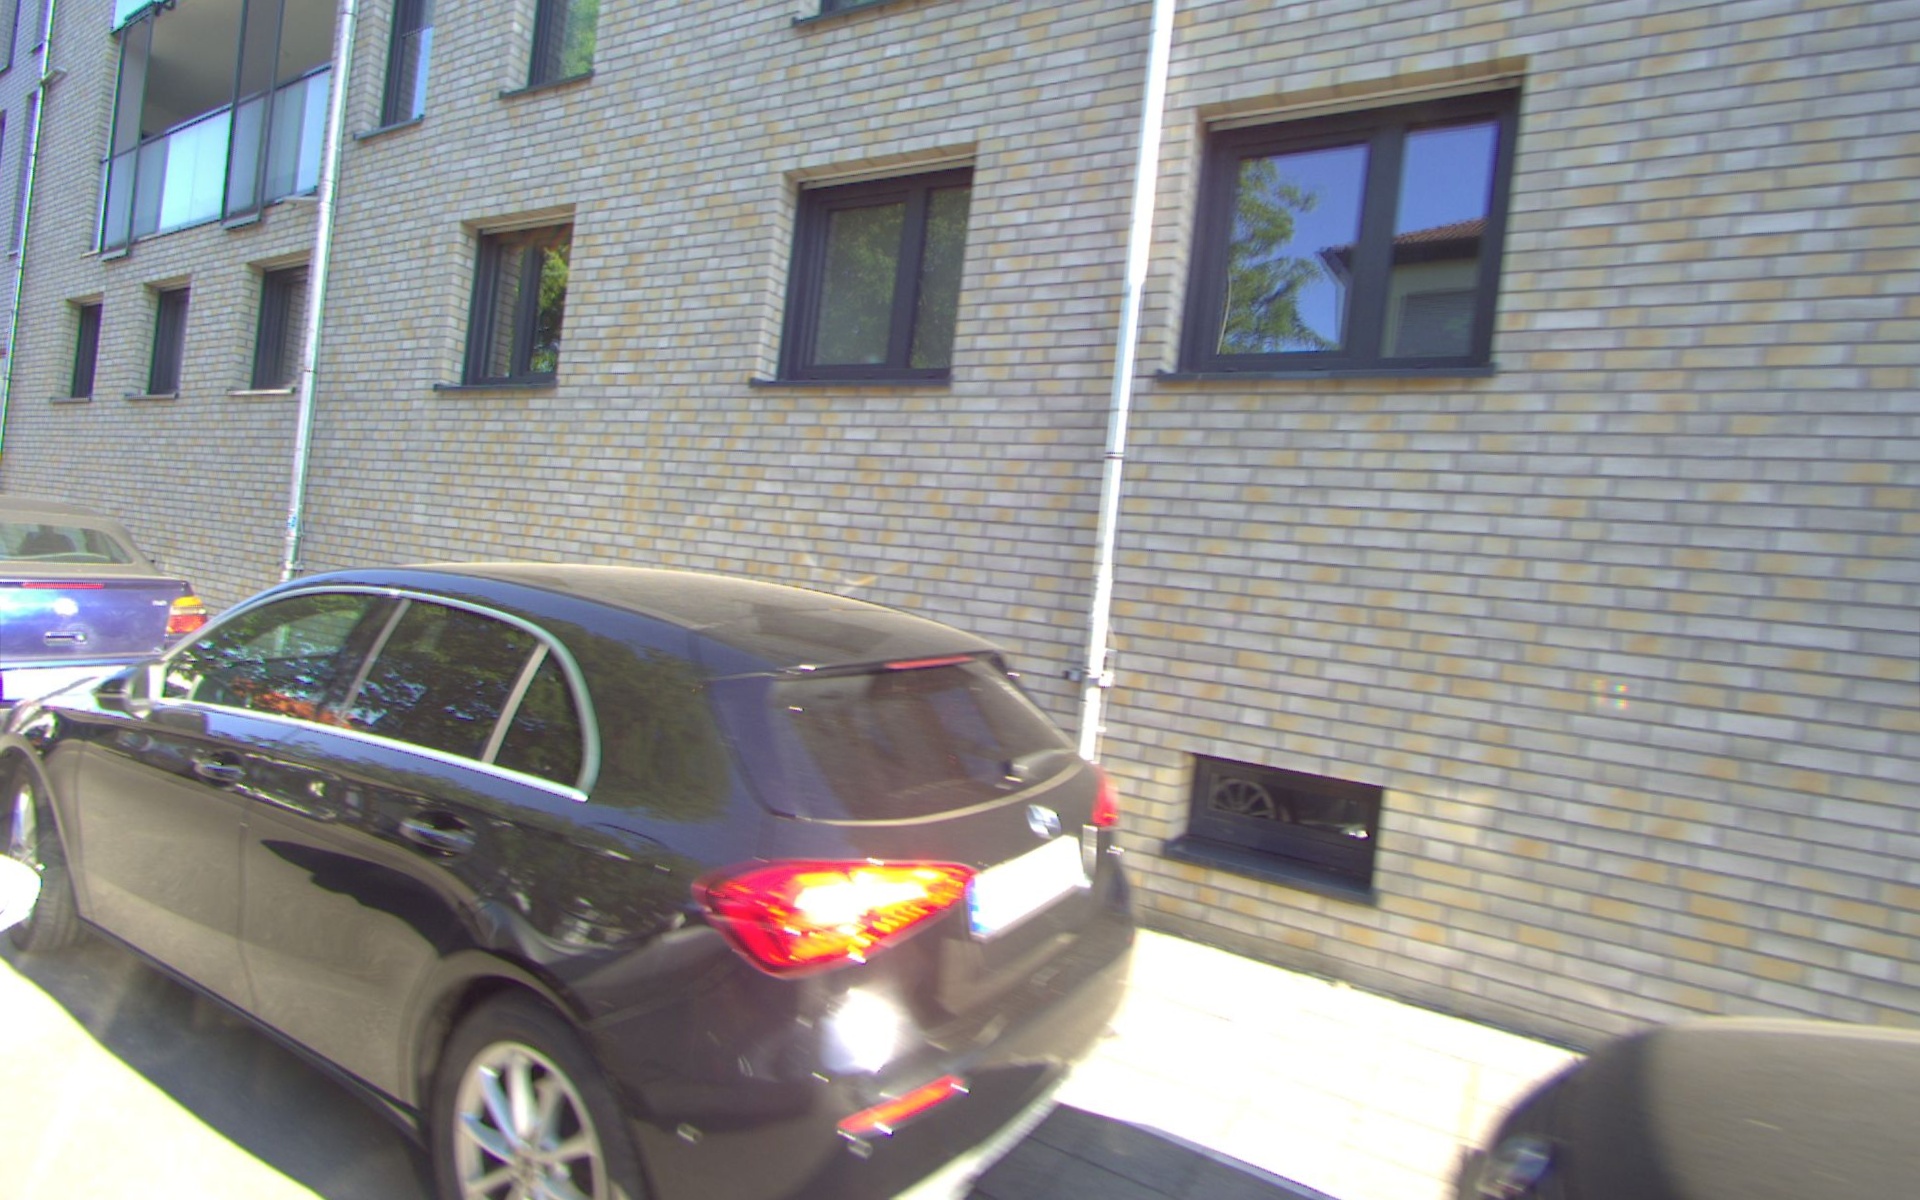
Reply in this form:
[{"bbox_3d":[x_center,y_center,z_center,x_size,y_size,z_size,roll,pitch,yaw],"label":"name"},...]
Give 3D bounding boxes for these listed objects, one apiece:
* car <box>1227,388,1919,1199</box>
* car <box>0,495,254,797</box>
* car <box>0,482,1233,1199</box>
[{"bbox_3d":[2.695,0.960,0.497,4.757,1.755,1.670,6,0,30],"label":"car"},{"bbox_3d":[-6.534,0.064,6.399,4.147,1.535,1.665,6,1,30],"label":"car"},{"bbox_3d":[-1.653,0.525,3.368,4.549,1.550,1.725,6,3,32],"label":"car"}]
